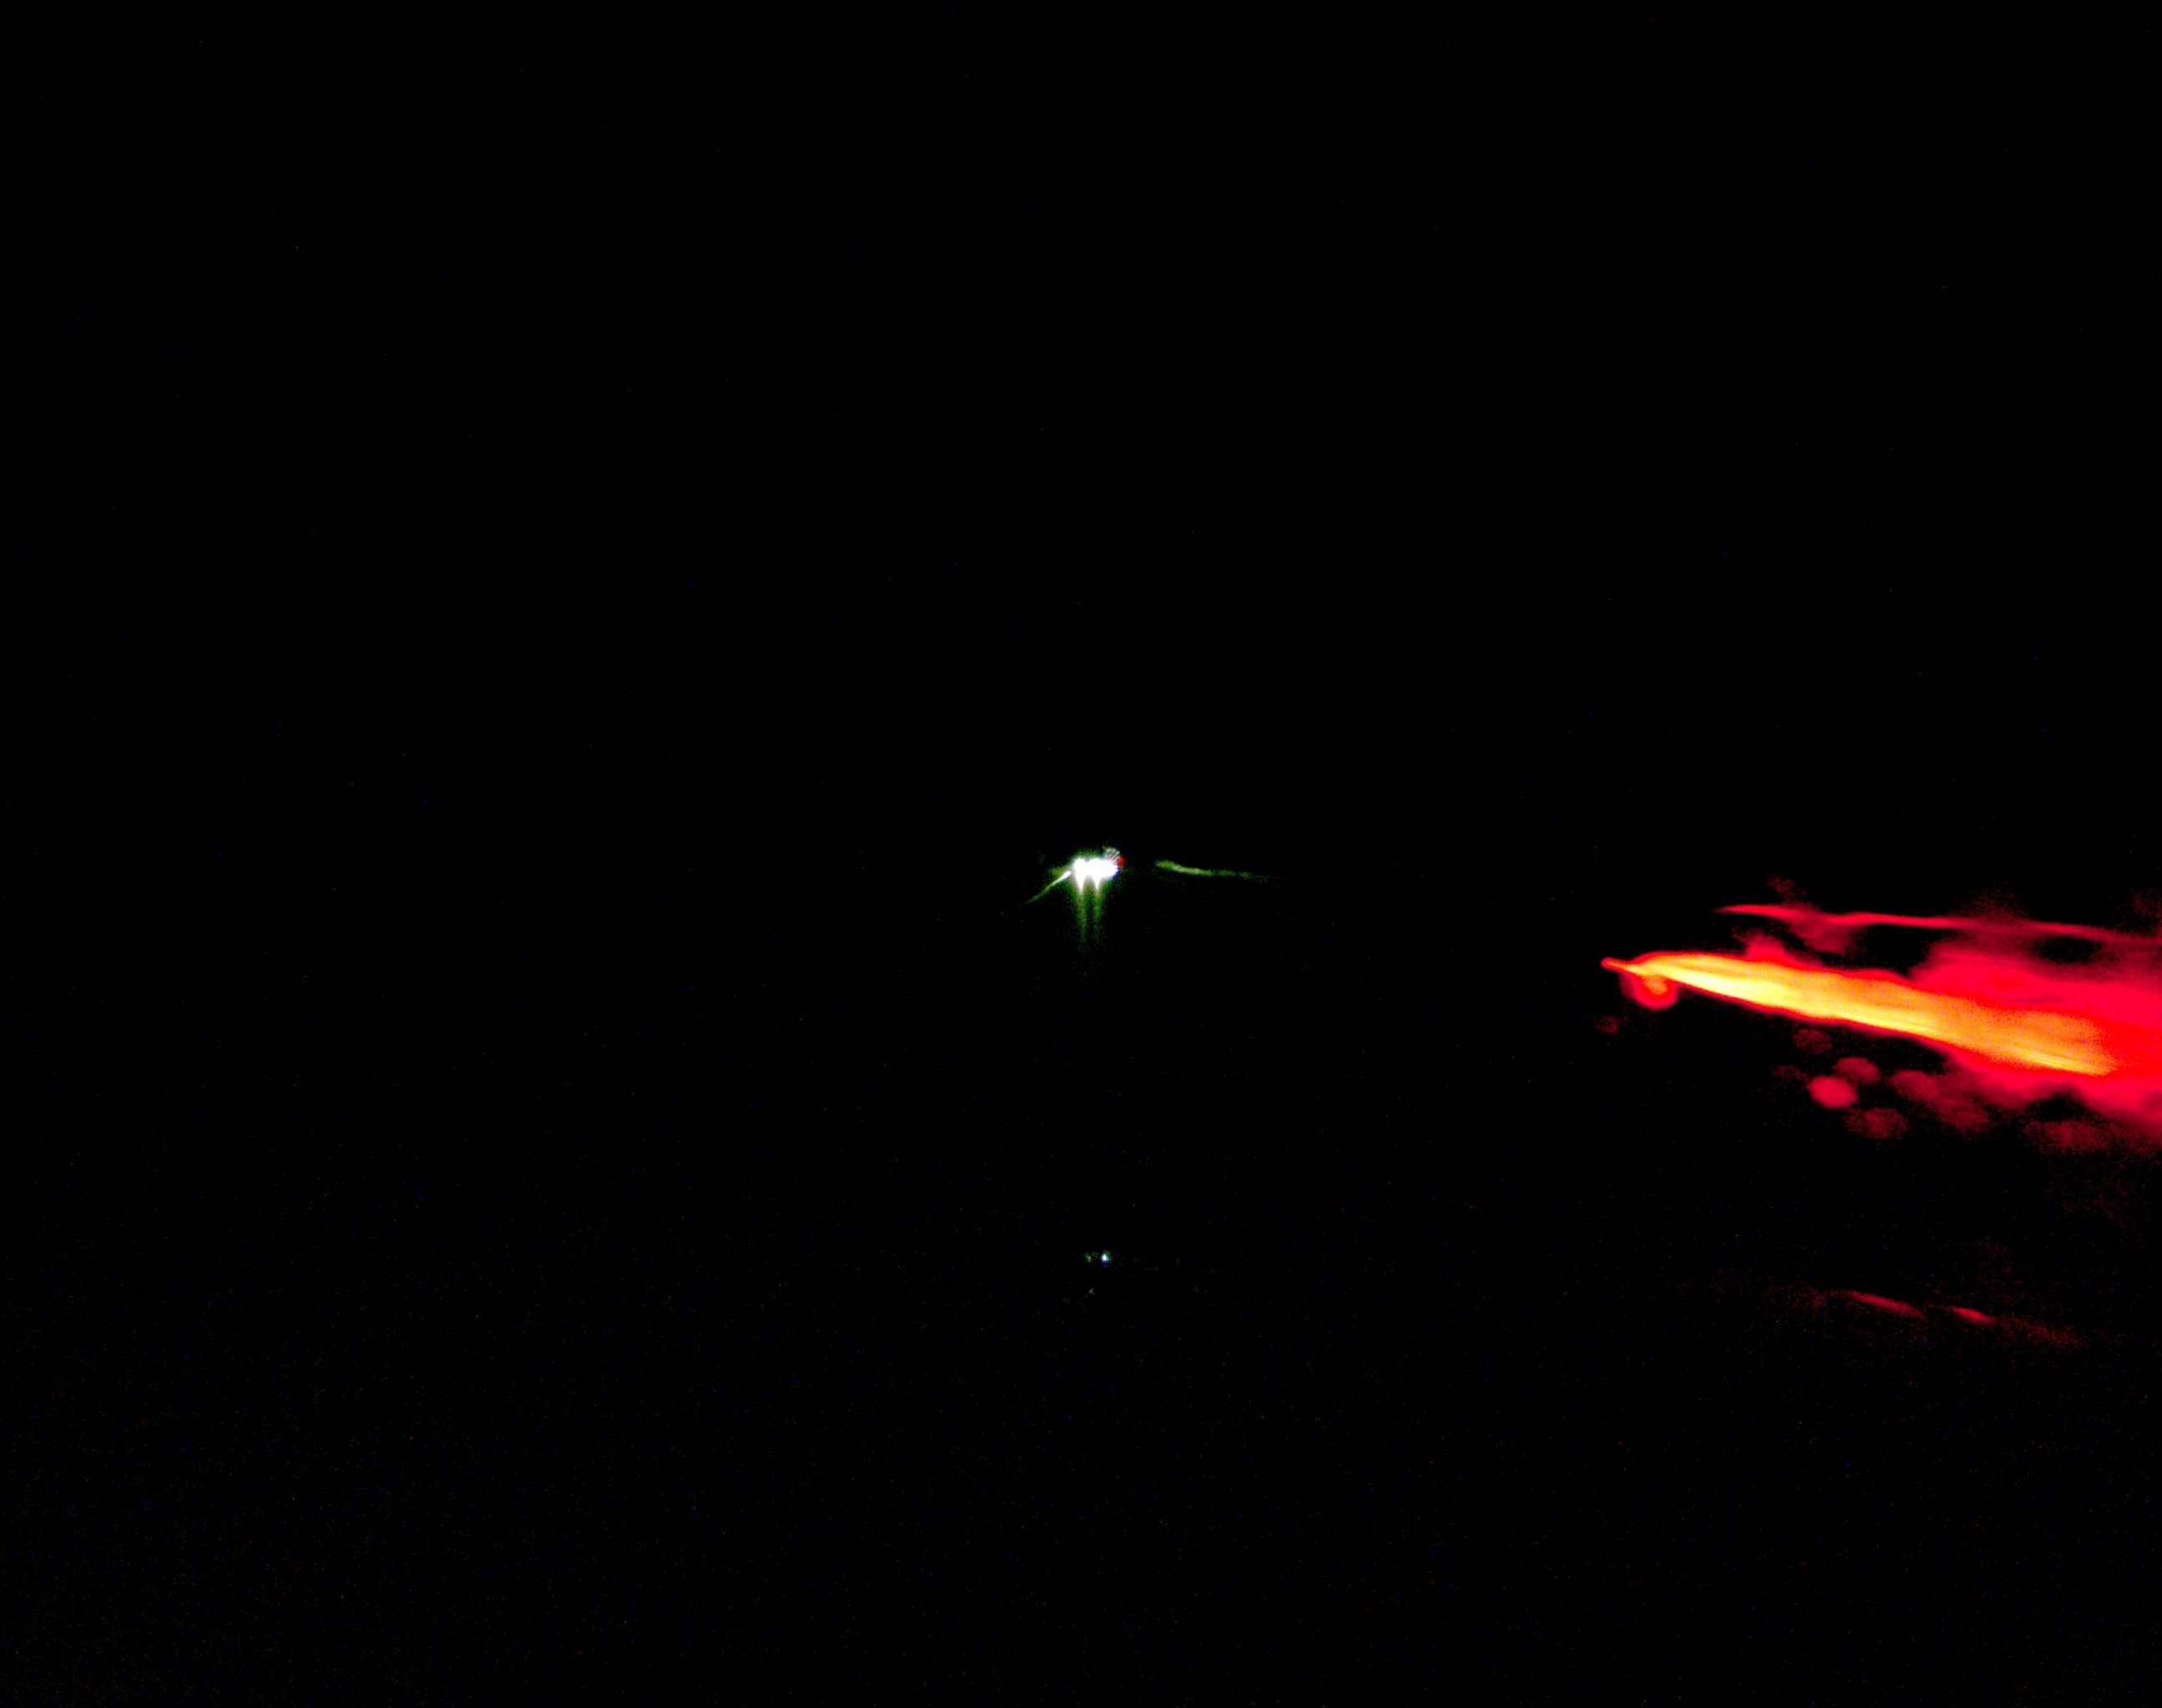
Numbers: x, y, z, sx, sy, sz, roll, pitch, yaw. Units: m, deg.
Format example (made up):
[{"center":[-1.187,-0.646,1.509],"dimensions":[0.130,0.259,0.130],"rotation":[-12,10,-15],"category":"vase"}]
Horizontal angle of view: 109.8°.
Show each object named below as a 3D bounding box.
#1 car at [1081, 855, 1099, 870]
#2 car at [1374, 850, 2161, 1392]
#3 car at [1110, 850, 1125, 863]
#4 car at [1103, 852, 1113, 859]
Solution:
[{"center":[1.029,0.926,84.969],"dimensions":[1.807,1.452,4.276],"rotation":[-3,0,3],"category":"car"},{"center":[3.529,0.750,4.359],"dimensions":[1.998,1.440,4.429],"rotation":[-3,1,1],"category":"car"},{"center":[5.316,0.370,110.134],"dimensions":[1.998,1.782,4.246],"rotation":[-3,1,1],"category":"car"},{"center":[5.766,0.313,163.346],"dimensions":[1.998,1.467,3.924],"rotation":[-3,1,1],"category":"car"}]
